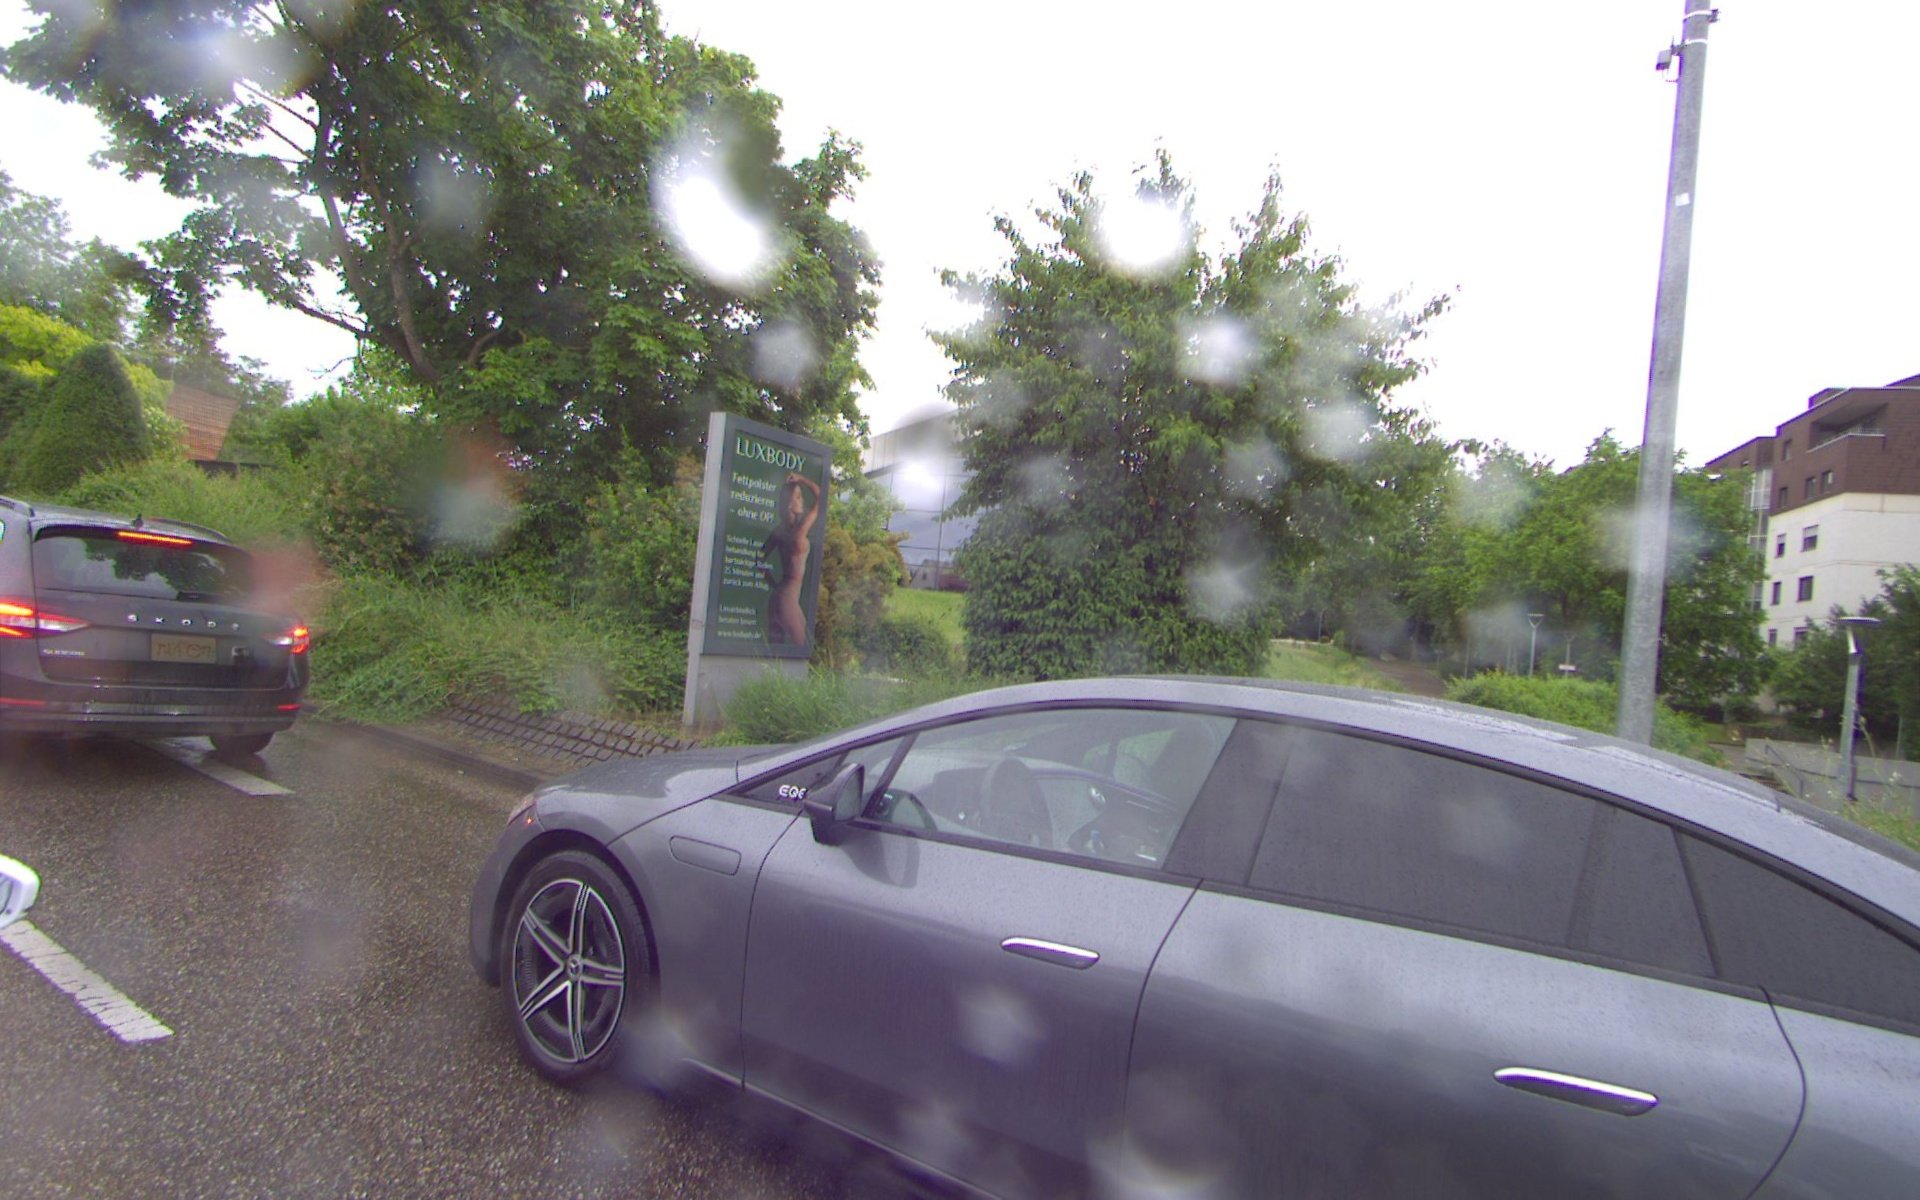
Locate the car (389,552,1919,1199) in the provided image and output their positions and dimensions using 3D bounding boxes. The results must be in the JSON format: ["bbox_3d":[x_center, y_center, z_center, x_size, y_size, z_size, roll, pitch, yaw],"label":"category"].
[{"bbox_3d":[0.663,0.925,2.923,4.728,1.483,1.842,7,-2,31],"label":"car"}]

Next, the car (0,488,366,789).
[{"bbox_3d":[-6.123,0.060,6.759,4.279,1.483,1.841,7,-2,33],"label":"car"}]

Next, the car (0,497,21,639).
[{"bbox_3d":[-12.209,-0.641,10.891,4.048,1.483,1.842,7,-2,31],"label":"car"}]
